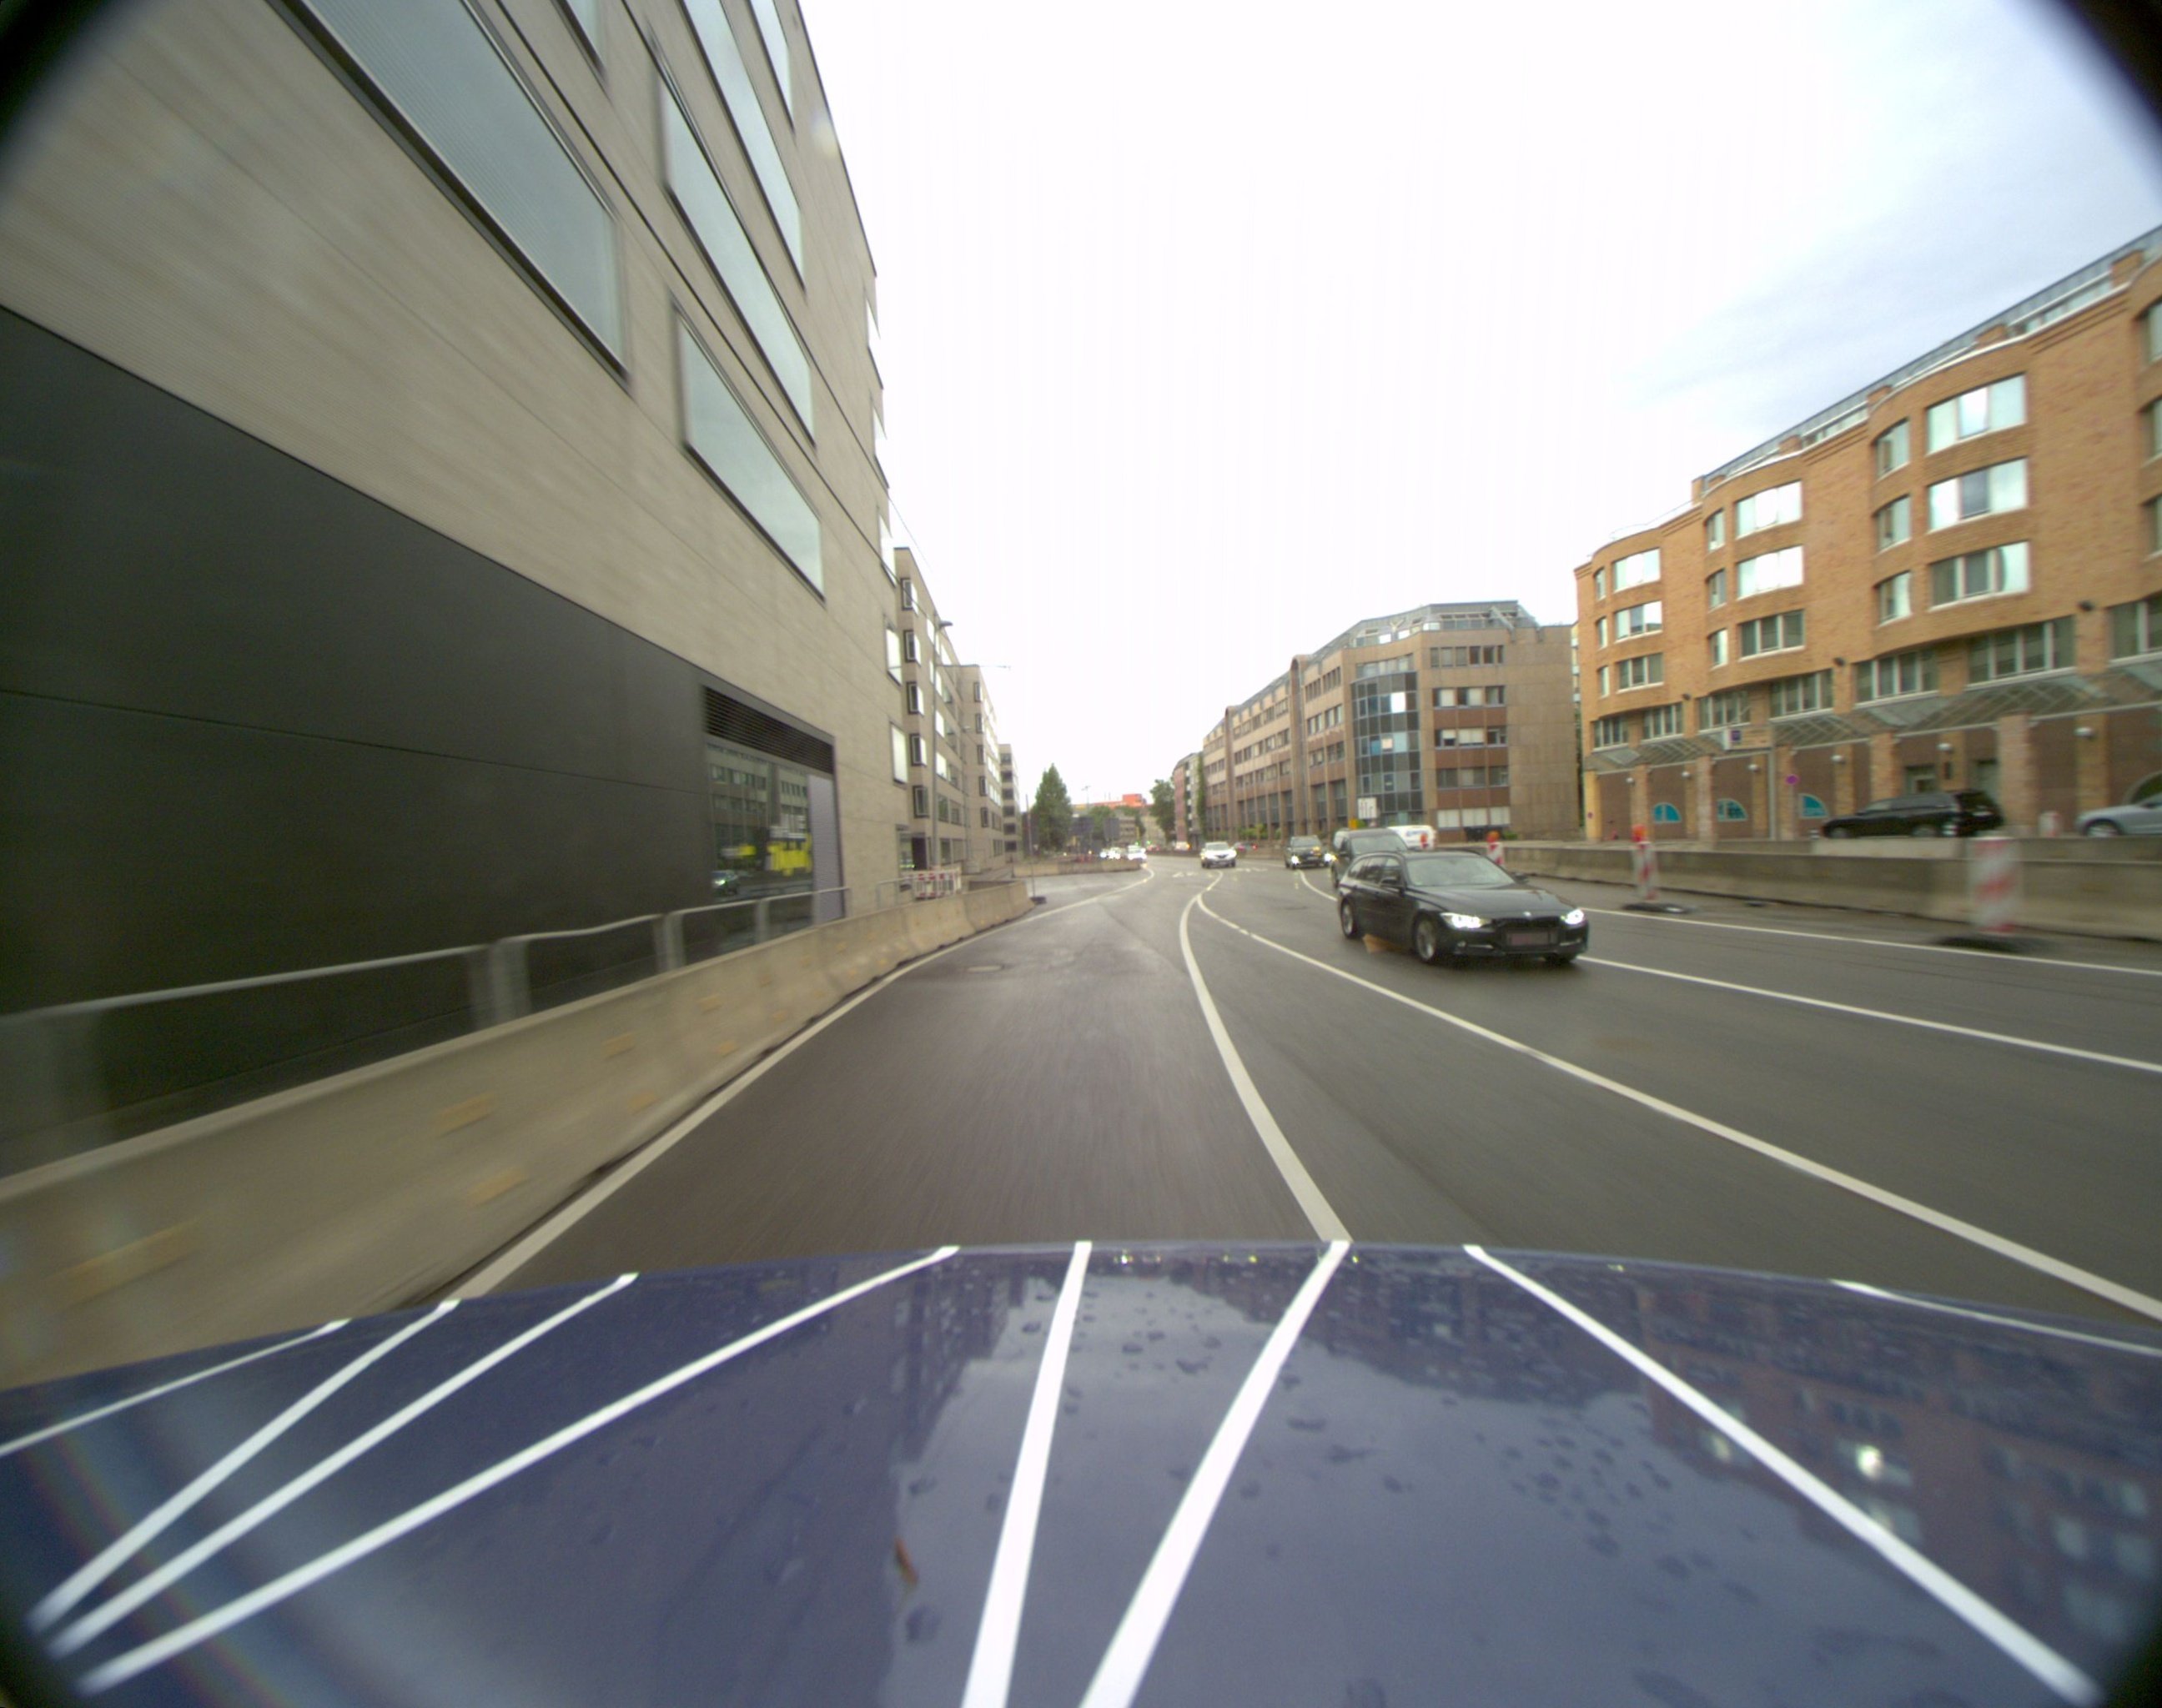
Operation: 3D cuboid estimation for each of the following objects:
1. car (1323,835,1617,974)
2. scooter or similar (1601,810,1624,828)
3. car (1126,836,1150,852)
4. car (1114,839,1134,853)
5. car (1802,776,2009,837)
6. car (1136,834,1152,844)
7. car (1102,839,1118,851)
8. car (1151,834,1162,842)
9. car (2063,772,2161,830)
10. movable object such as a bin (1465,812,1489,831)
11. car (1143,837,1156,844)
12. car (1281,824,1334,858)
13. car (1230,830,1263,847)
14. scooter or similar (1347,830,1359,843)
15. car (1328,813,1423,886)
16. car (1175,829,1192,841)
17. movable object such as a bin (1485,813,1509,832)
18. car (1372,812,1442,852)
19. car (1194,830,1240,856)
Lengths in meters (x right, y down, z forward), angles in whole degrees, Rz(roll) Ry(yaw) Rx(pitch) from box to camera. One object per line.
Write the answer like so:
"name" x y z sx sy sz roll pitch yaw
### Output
"car" 5.039 0.528 10.722 1.772 1.435 4.655 -3 1 1
"scooter or similar" 33.455 -2.182 47.822 0.451 1.057 1.042 -4 1 -30
"car" 5.699 -1.006 76.821 1.772 1.525 4.654 -4 1 -3
"car" 5.036 -0.927 89.768 1.772 1.525 4.654 -4 1 -3
"car" 30.263 -1.675 28.202 1.999 1.875 5.011 -3 1 -4
"car" 9.970 -2.365 120.851 1.772 1.525 4.654 -4 1 -3
"car" 4.057 -1.308 107.026 1.772 1.525 4.654 -4 1 -3
"car" 13.438 -2.885 135.144 1.616 1.224 3.726 -3 1 2
"car" 31.049 -1.553 20.923 1.999 1.584 4.538 -3 1 -3
"movable object such as a bin" 32.705 -2.647 62.767 1.246 1.471 1.350 -3 1 4
"car" 14.478 -2.842 160.163 1.850 1.262 4.546 -4 1 -5
"car" 11.367 -0.668 38.414 1.771 1.525 4.357 -3 1 7
"car" 15.865 -1.462 73.158 1.999 1.451 4.226 -3 1 -3
"scooter or similar" 23.692 -1.524 66.234 0.450 1.057 1.043 -3 1 -13
"car" 8.325 -0.174 21.843 1.797 1.790 4.253 -3 1 12
"car" 15.785 -2.908 117.122 1.891 1.773 4.876 -3 1 0
"movable object such as a bin" 34.163 -2.609 62.397 1.246 1.471 1.350 -3 1 5
"car" 17.061 -1.150 40.036 1.998 1.874 4.871 -3 1 6
"car" 8.635 -0.701 48.569 1.772 1.525 4.654 -4 1 -3
